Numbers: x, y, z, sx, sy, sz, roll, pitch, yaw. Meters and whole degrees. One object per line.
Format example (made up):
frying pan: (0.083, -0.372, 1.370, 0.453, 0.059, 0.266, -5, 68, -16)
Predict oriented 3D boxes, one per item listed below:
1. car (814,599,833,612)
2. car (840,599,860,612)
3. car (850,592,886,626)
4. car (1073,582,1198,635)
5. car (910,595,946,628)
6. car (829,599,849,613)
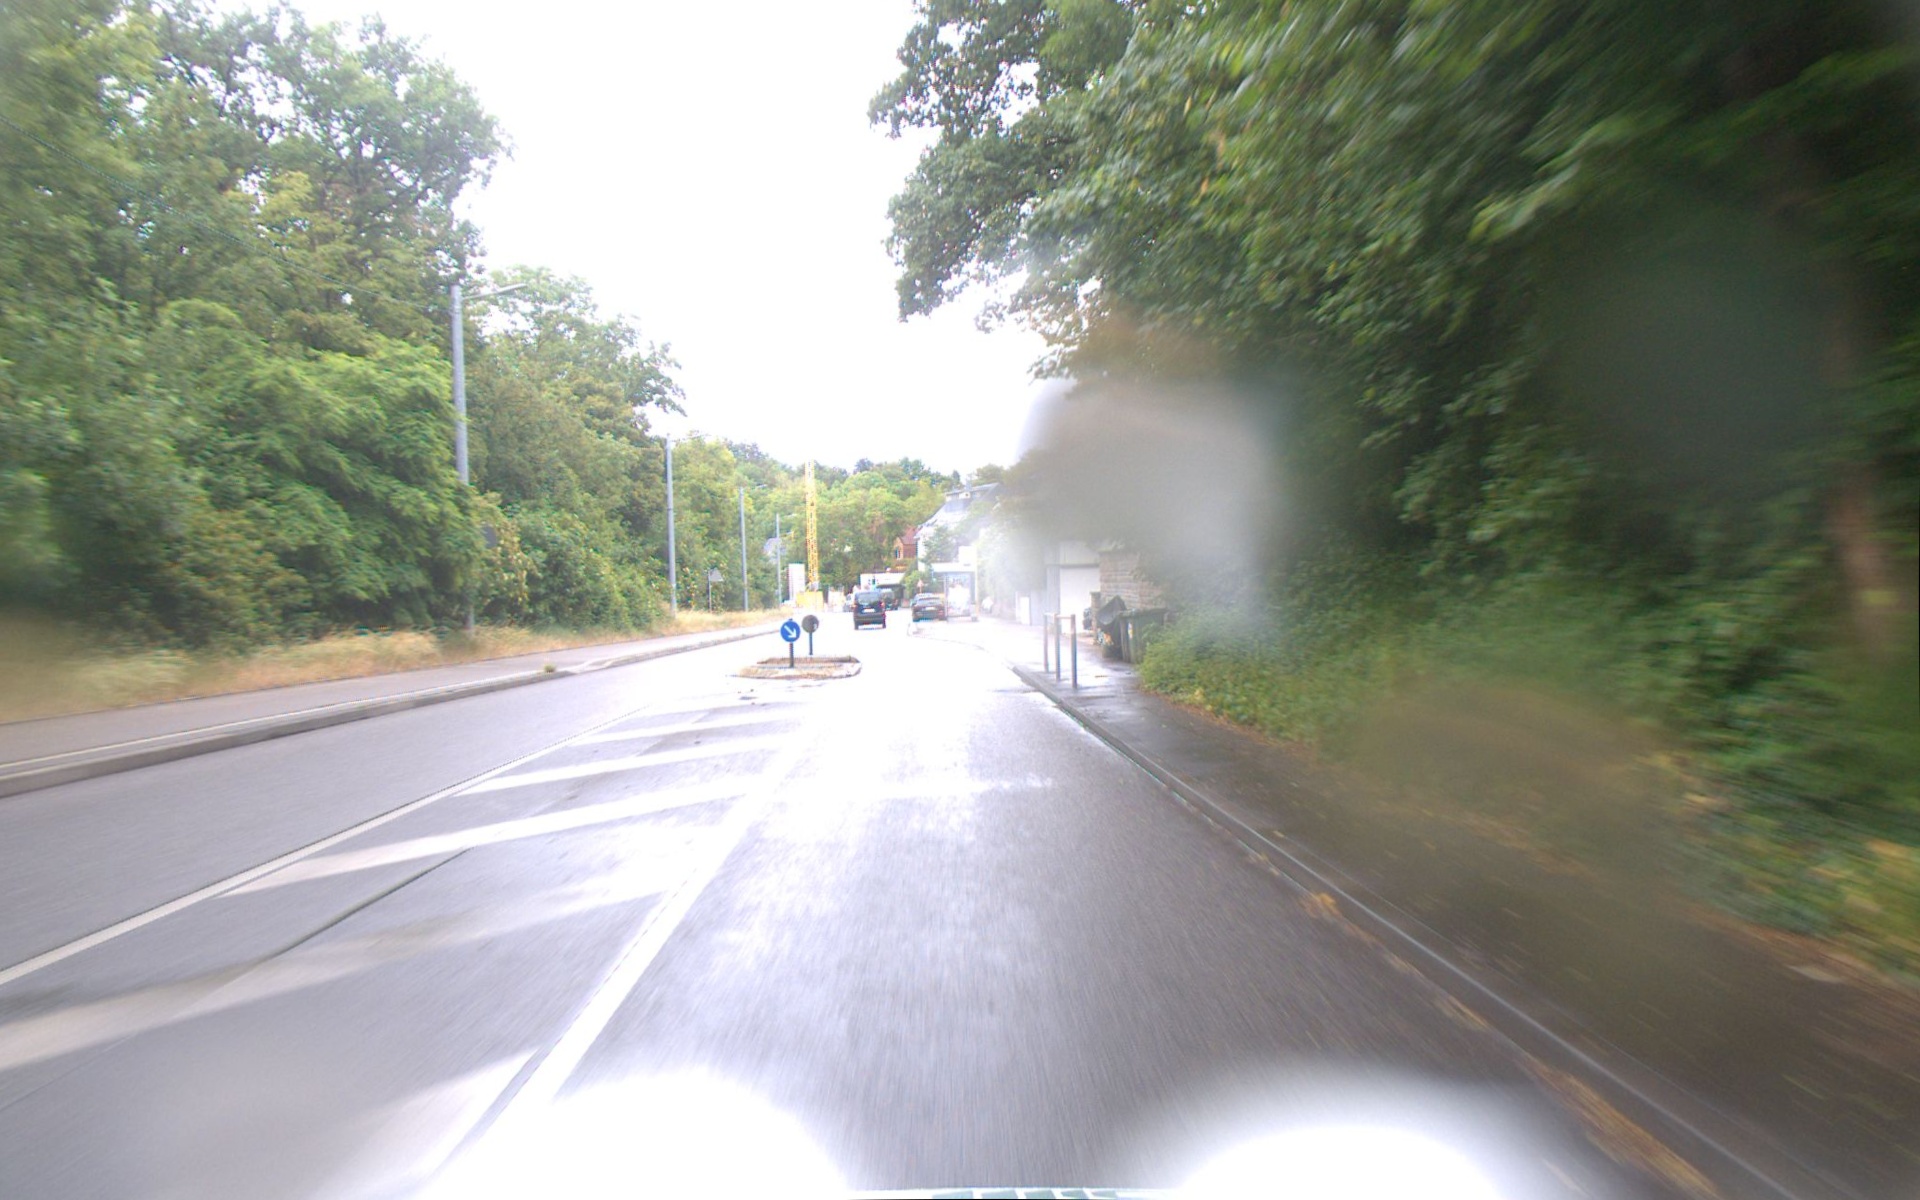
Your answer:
car: (-17.281, 0.742, 209.163, 1.711, 1.579, 3.840, -1, 0, -15)
car: (-13.147, 0.657, 197.829, 1.711, 1.579, 3.840, -1, 0, -15)
car: (-4.562, 0.442, 82.658, 1.634, 1.621, 3.682, -1, 0, -1)
car: (5.490, 0.267, 52.058, 3.694, 1.580, 1.608, -1, 0, -3)
car: (-1.786, 0.628, 92.821, 1.953, 1.803, 4.113, 0, 0, -1)
car: (-14.877, 0.743, 203.029, 1.711, 1.579, 3.840, 1, 0, -15)
